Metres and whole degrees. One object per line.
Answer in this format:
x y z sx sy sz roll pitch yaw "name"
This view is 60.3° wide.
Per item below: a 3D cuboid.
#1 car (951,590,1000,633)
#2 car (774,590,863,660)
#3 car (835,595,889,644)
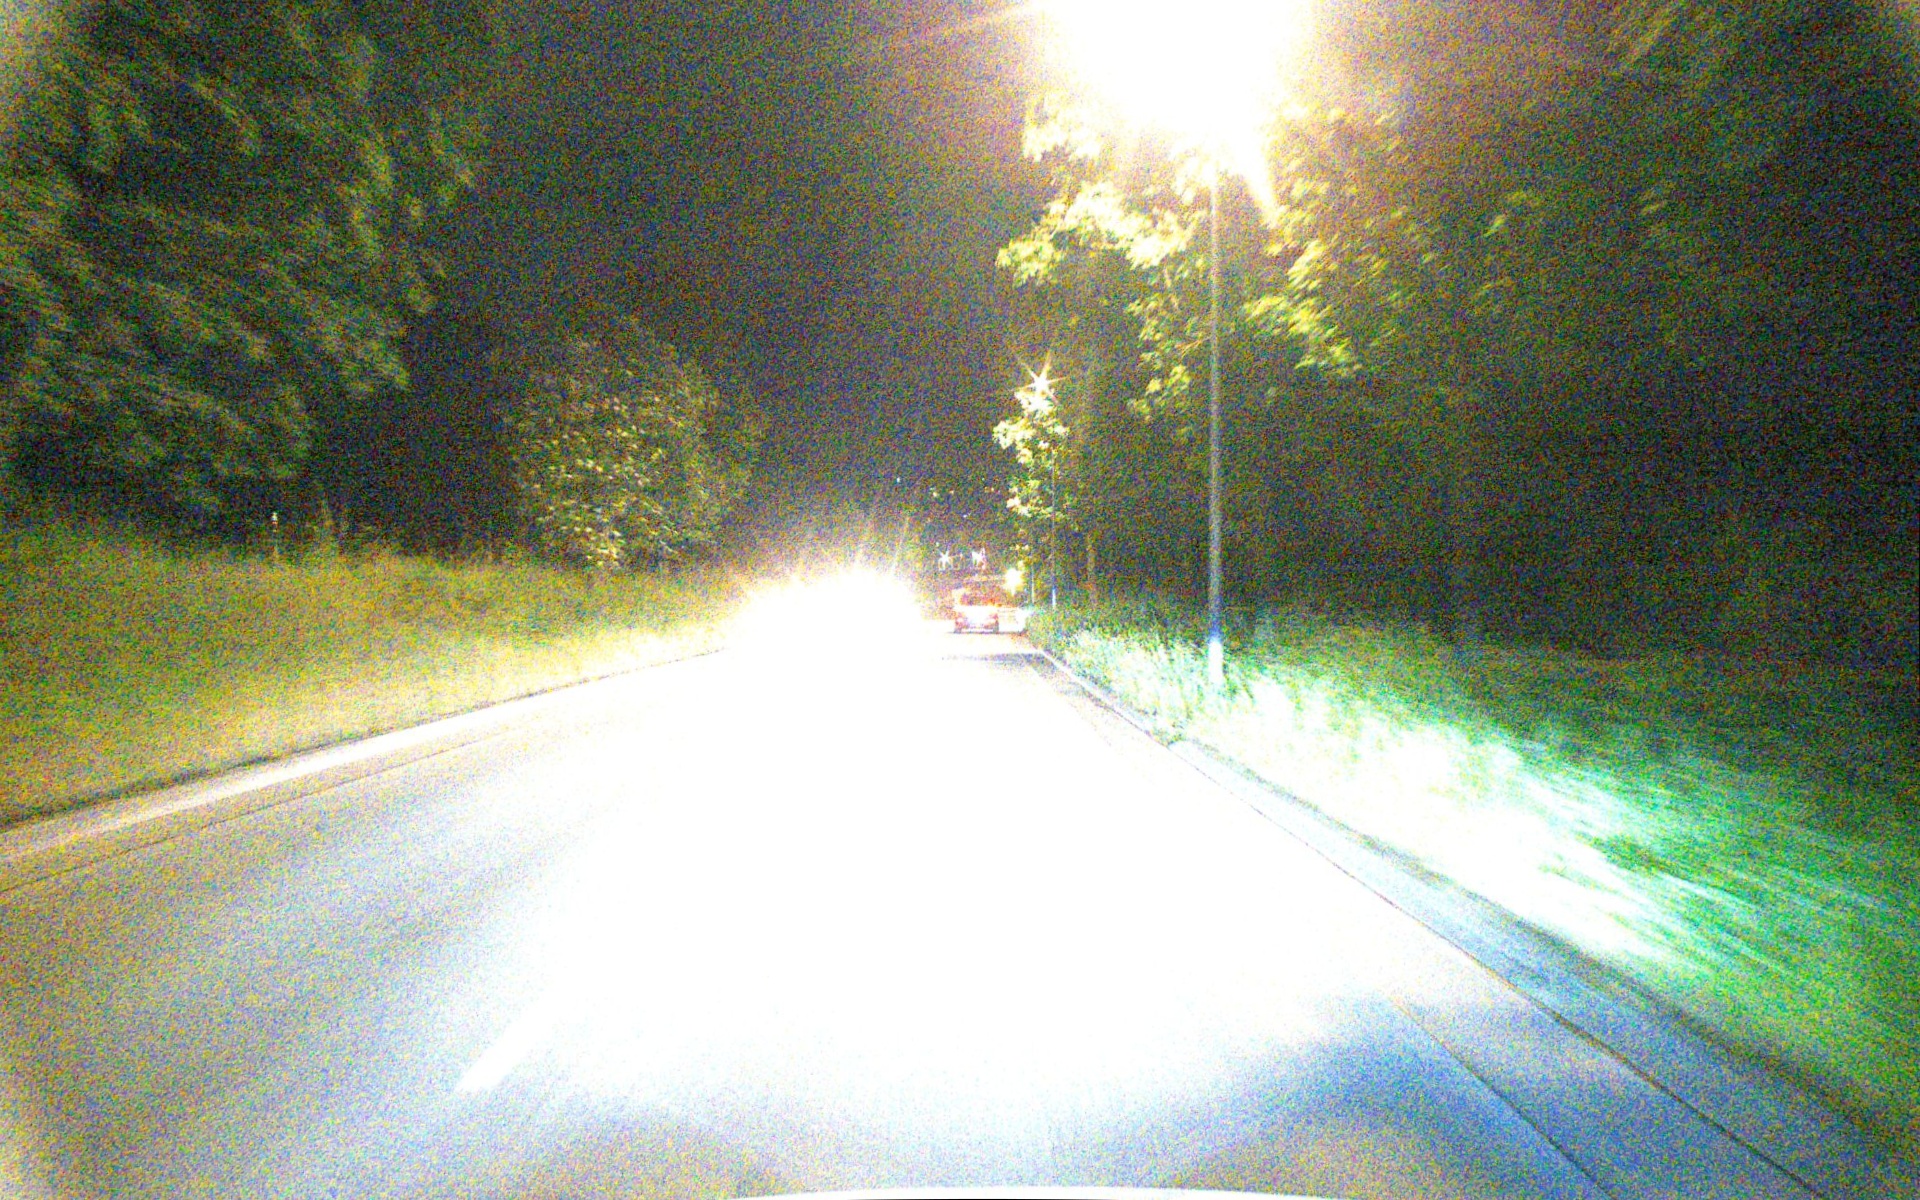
0.601 0.445 66.608 1.728 1.670 3.720 1 0 -3 "car"
-3.162 0.531 37.662 1.653 1.483 4.000 1 0 0 "car"
-3.189 0.605 54.217 1.614 1.517 3.556 1 0 -2 "car"
